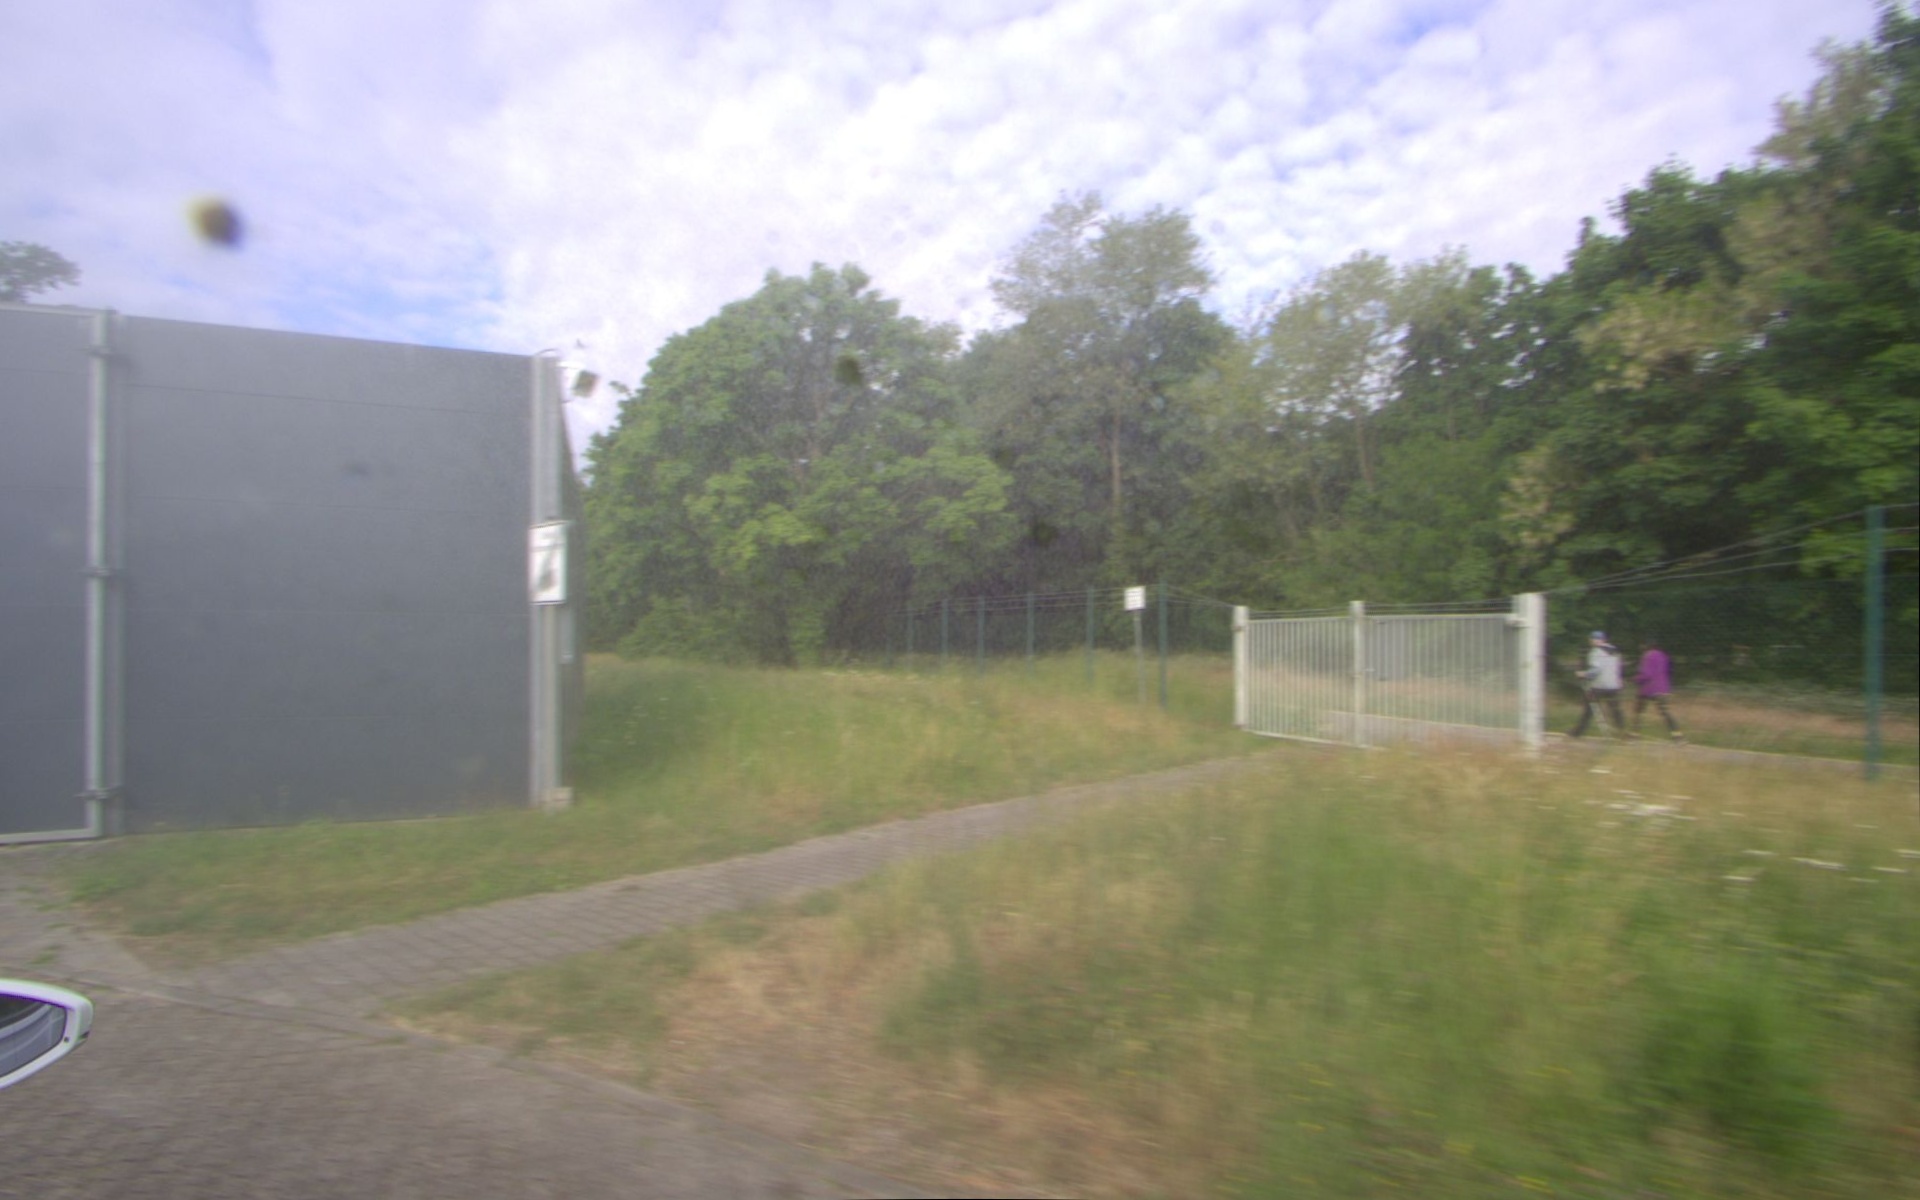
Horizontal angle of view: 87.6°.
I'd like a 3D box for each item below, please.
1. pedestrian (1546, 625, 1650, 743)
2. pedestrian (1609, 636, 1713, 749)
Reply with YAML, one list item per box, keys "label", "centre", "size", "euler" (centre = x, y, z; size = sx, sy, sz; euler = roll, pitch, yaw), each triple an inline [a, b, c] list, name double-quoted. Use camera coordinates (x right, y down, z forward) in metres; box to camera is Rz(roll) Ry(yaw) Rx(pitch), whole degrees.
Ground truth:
- label: "pedestrian"
  centre: [9.595, 1.238, 15.092]
  size: [0.829, 1.704, 1.036]
  euler: [0, -1, -15]
- label: "pedestrian"
  centre: [10.358, 1.335, 14.827]
  size: [0.724, 1.594, 1.033]
  euler: [0, -1, -18]
